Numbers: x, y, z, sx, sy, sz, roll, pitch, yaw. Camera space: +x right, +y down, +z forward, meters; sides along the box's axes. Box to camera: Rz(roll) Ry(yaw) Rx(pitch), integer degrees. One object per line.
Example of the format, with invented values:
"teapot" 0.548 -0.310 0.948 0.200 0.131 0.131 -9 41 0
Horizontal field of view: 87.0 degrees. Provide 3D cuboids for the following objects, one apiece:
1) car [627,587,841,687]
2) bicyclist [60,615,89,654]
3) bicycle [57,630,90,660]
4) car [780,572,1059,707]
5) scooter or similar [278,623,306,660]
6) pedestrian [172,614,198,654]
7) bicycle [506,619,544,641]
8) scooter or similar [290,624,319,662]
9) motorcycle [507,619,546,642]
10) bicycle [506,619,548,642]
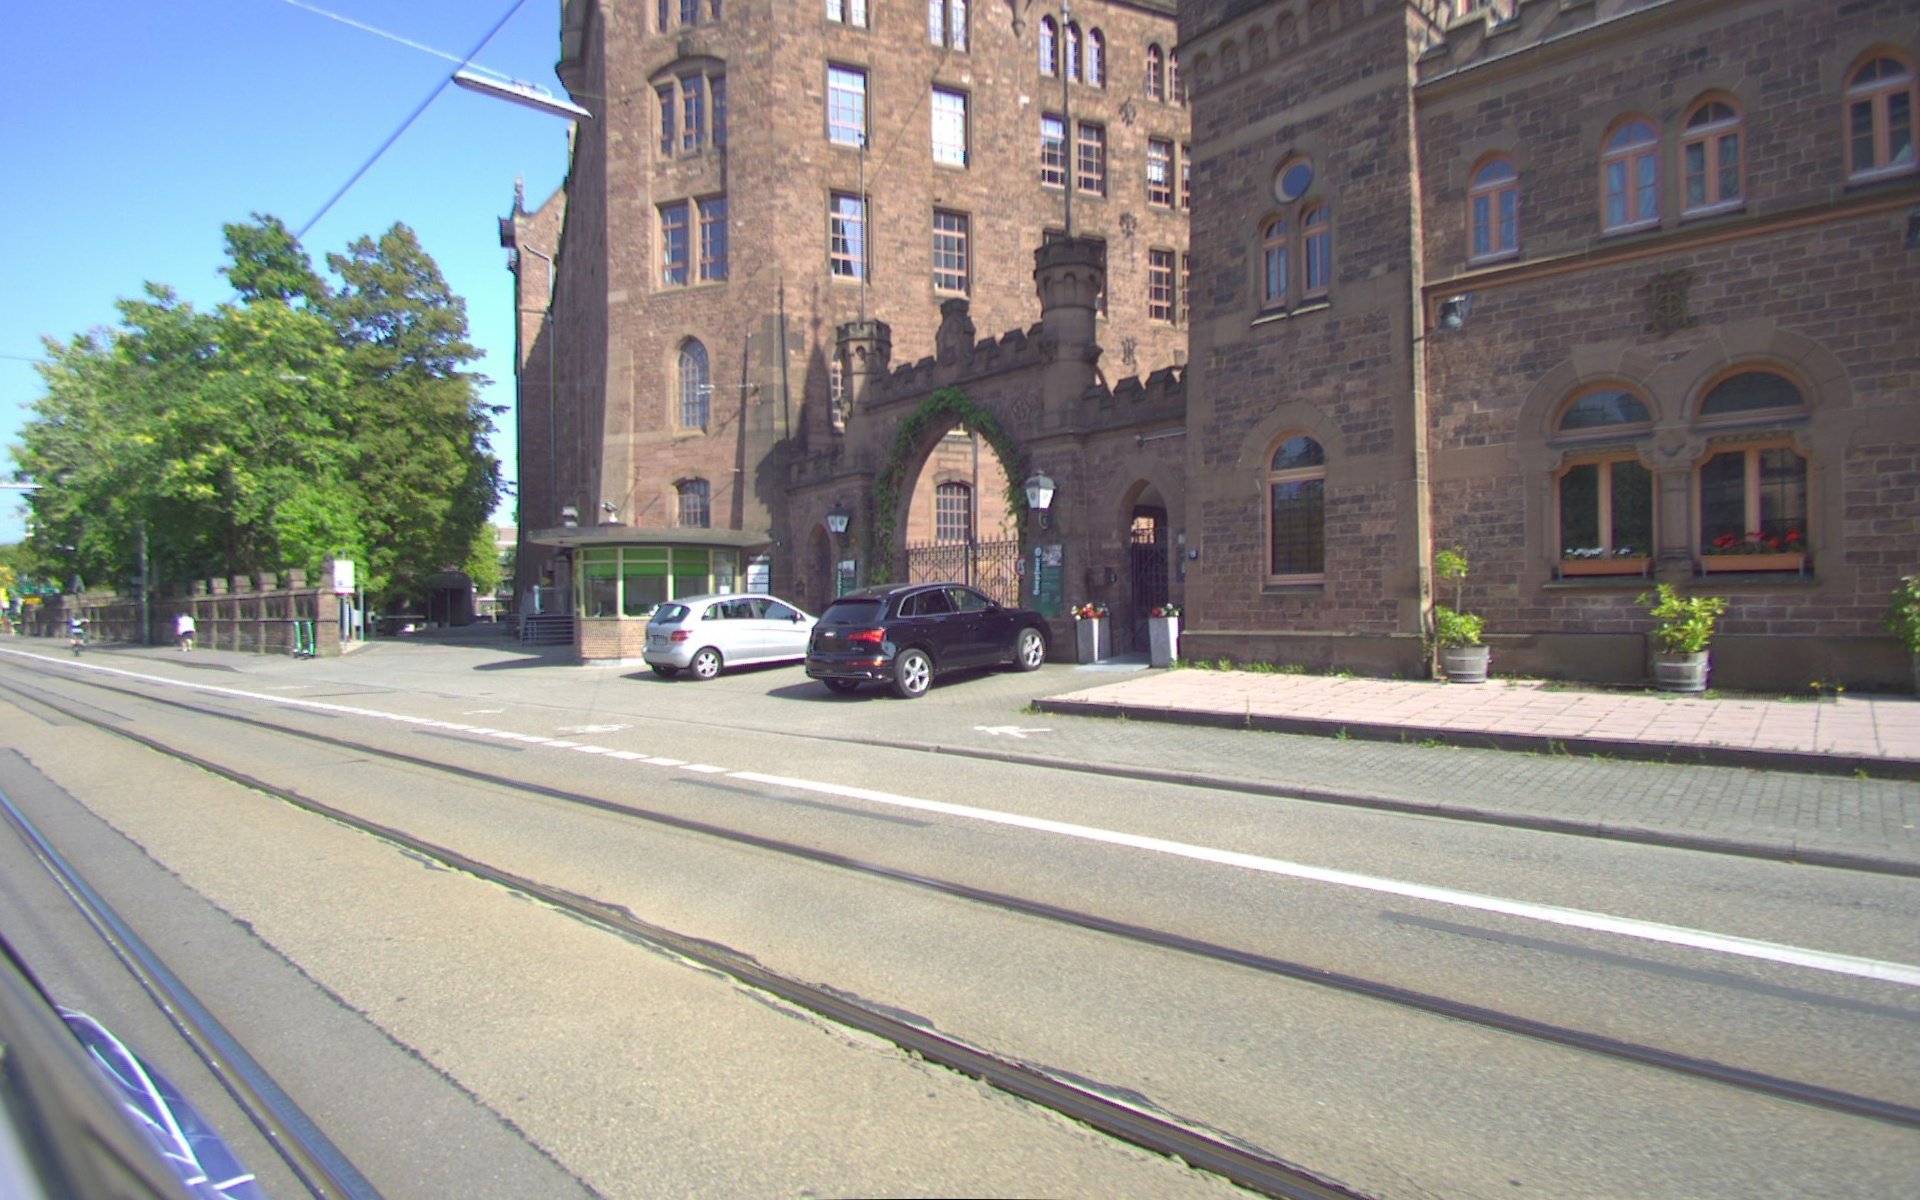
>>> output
"car" -4.579 0.695 20.856 1.823 1.607 3.857 -2 3 44
"bicyclist" -36.005 1.398 41.142 1.086 1.592 0.690 -1 -2 40
"bicycle" -36.053 1.804 41.159 2.036 1.167 0.690 -1 -1 40
"car" -0.524 0.532 16.407 1.957 1.657 4.350 -2 3 43
"scooter or similar" -21.619 1.337 32.775 0.280 1.157 0.816 -1 2 5
"pedestrian" -31.602 1.371 41.269 0.775 1.601 0.708 -1 -1 41
"bicycle" -21.429 1.479 49.922 1.636 1.054 0.566 -1 0 -13
"scooter or similar" -20.694 1.353 31.956 0.280 1.157 0.816 -1 2 5
"motorcycle" -20.523 1.431 47.884 1.669 1.009 0.584 -1 0 -24
"bicycle" -20.926 1.475 48.925 1.748 1.054 0.666 -1 0 -13
